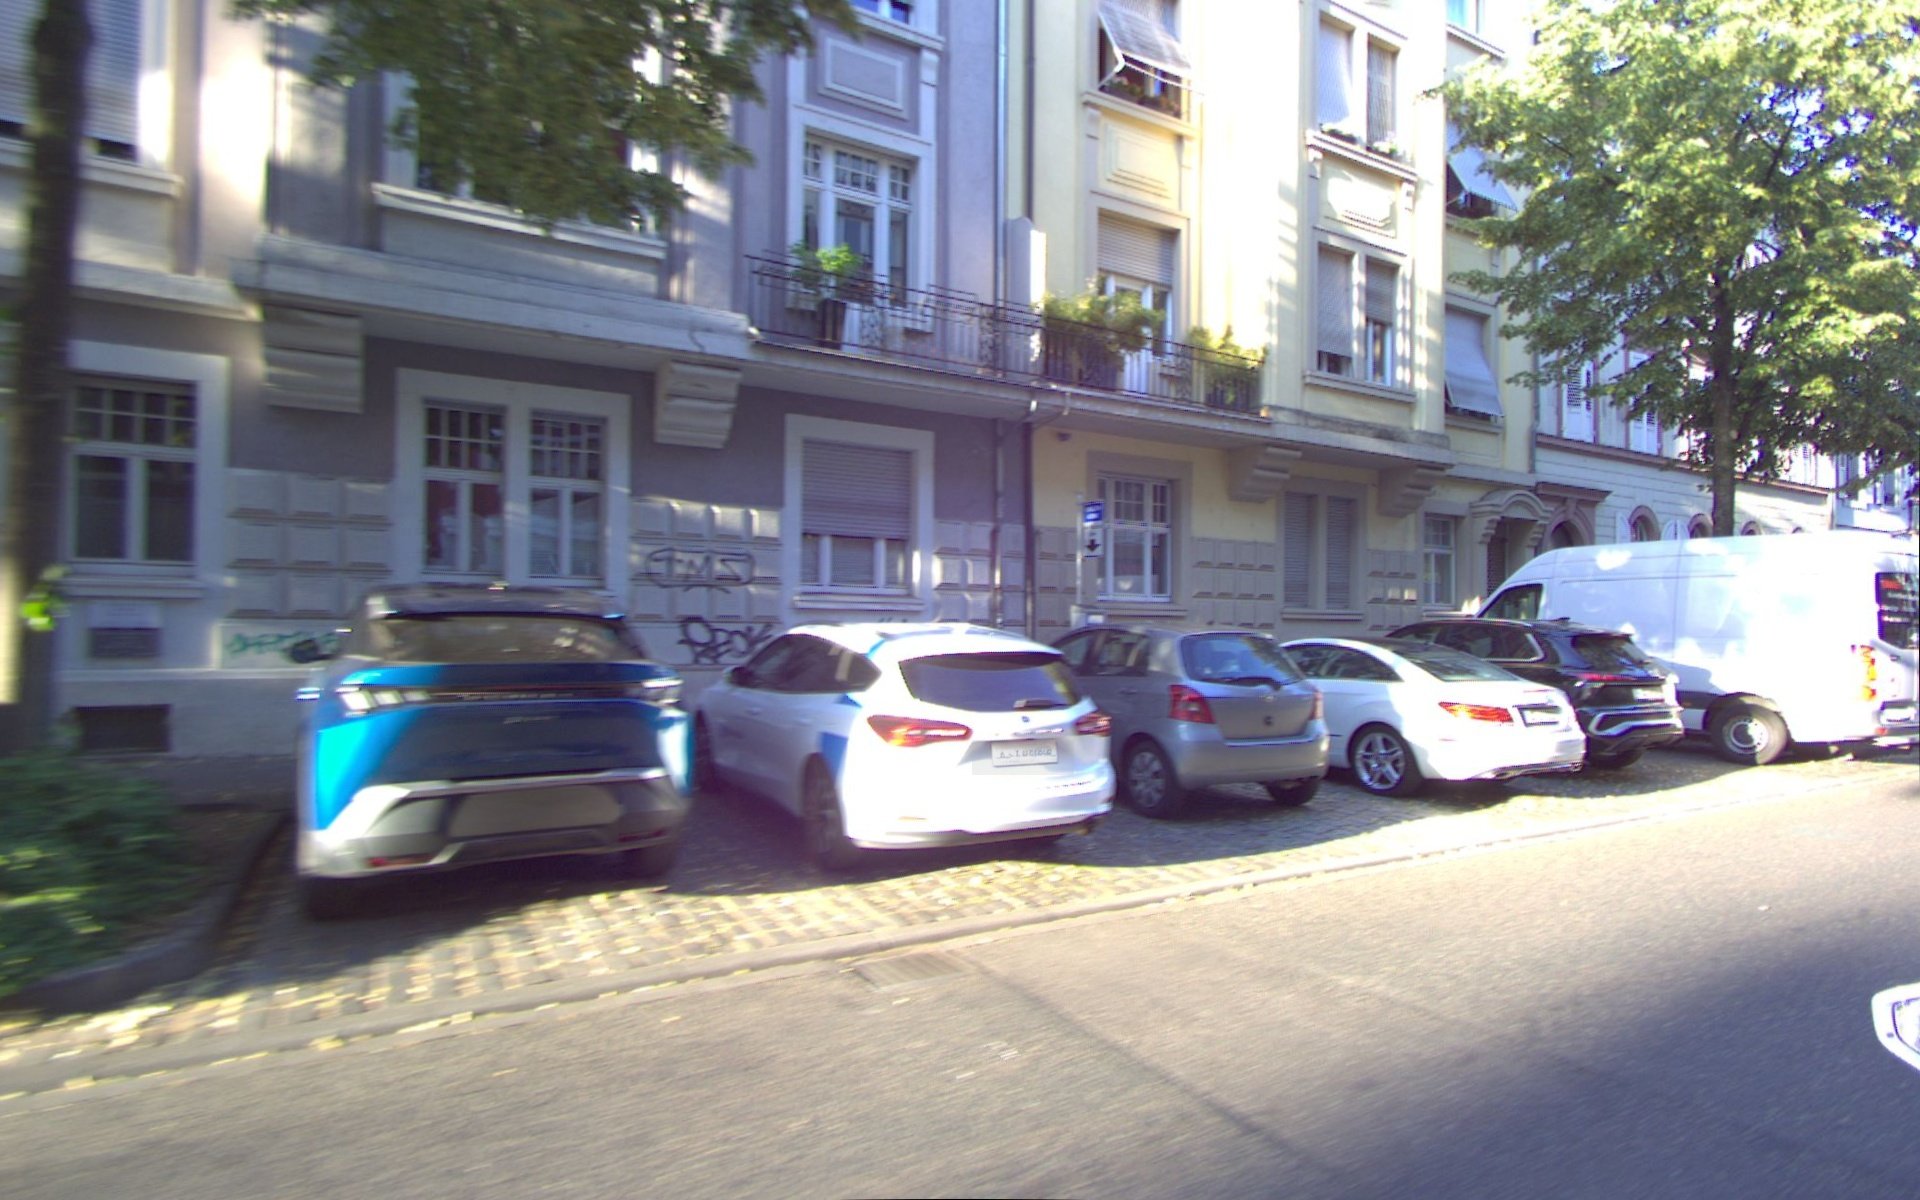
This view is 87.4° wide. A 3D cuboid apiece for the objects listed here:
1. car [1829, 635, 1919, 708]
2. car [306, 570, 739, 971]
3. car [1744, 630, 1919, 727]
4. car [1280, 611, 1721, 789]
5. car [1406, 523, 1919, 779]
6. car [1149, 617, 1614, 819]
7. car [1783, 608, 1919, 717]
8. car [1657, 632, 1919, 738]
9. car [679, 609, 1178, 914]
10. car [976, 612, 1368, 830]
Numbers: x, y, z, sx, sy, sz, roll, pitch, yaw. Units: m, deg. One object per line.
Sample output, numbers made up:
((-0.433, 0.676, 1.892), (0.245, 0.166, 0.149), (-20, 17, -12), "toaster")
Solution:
((20.512, 1.481, 20.350), (1.574, 1.459, 4.135), (1, -1, -28), "car")
((-3.090, 0.716, 6.484), (1.873, 1.672, 4.205), (1, 0, -33), "car")
((15.931, 1.325, 17.405), (1.695, 1.486, 3.349), (1, 0, -33), "car")
((6.052, 0.978, 11.805), (1.951, 1.621, 4.195), (1, 0, -28), "car")
((9.120, 0.534, 13.406), (2.145, 2.656, 5.633), (1, 0, -29), "car")
((4.001, 0.988, 10.288), (1.772, 1.526, 4.193), (1, 0, -30), "car")
((18.285, 1.151, 18.503), (1.894, 1.979, 4.483), (1, -1, -27), "car")
((13.715, 1.293, 15.978), (1.730, 1.422, 3.967), (3, -1, -31), "car")
((-0.556, 0.861, 7.451), (1.947, 1.502, 4.165), (1, 0, -30), "car")
((1.735, 0.915, 9.236), (1.822, 1.530, 3.396), (1, 0, -26), "car")
